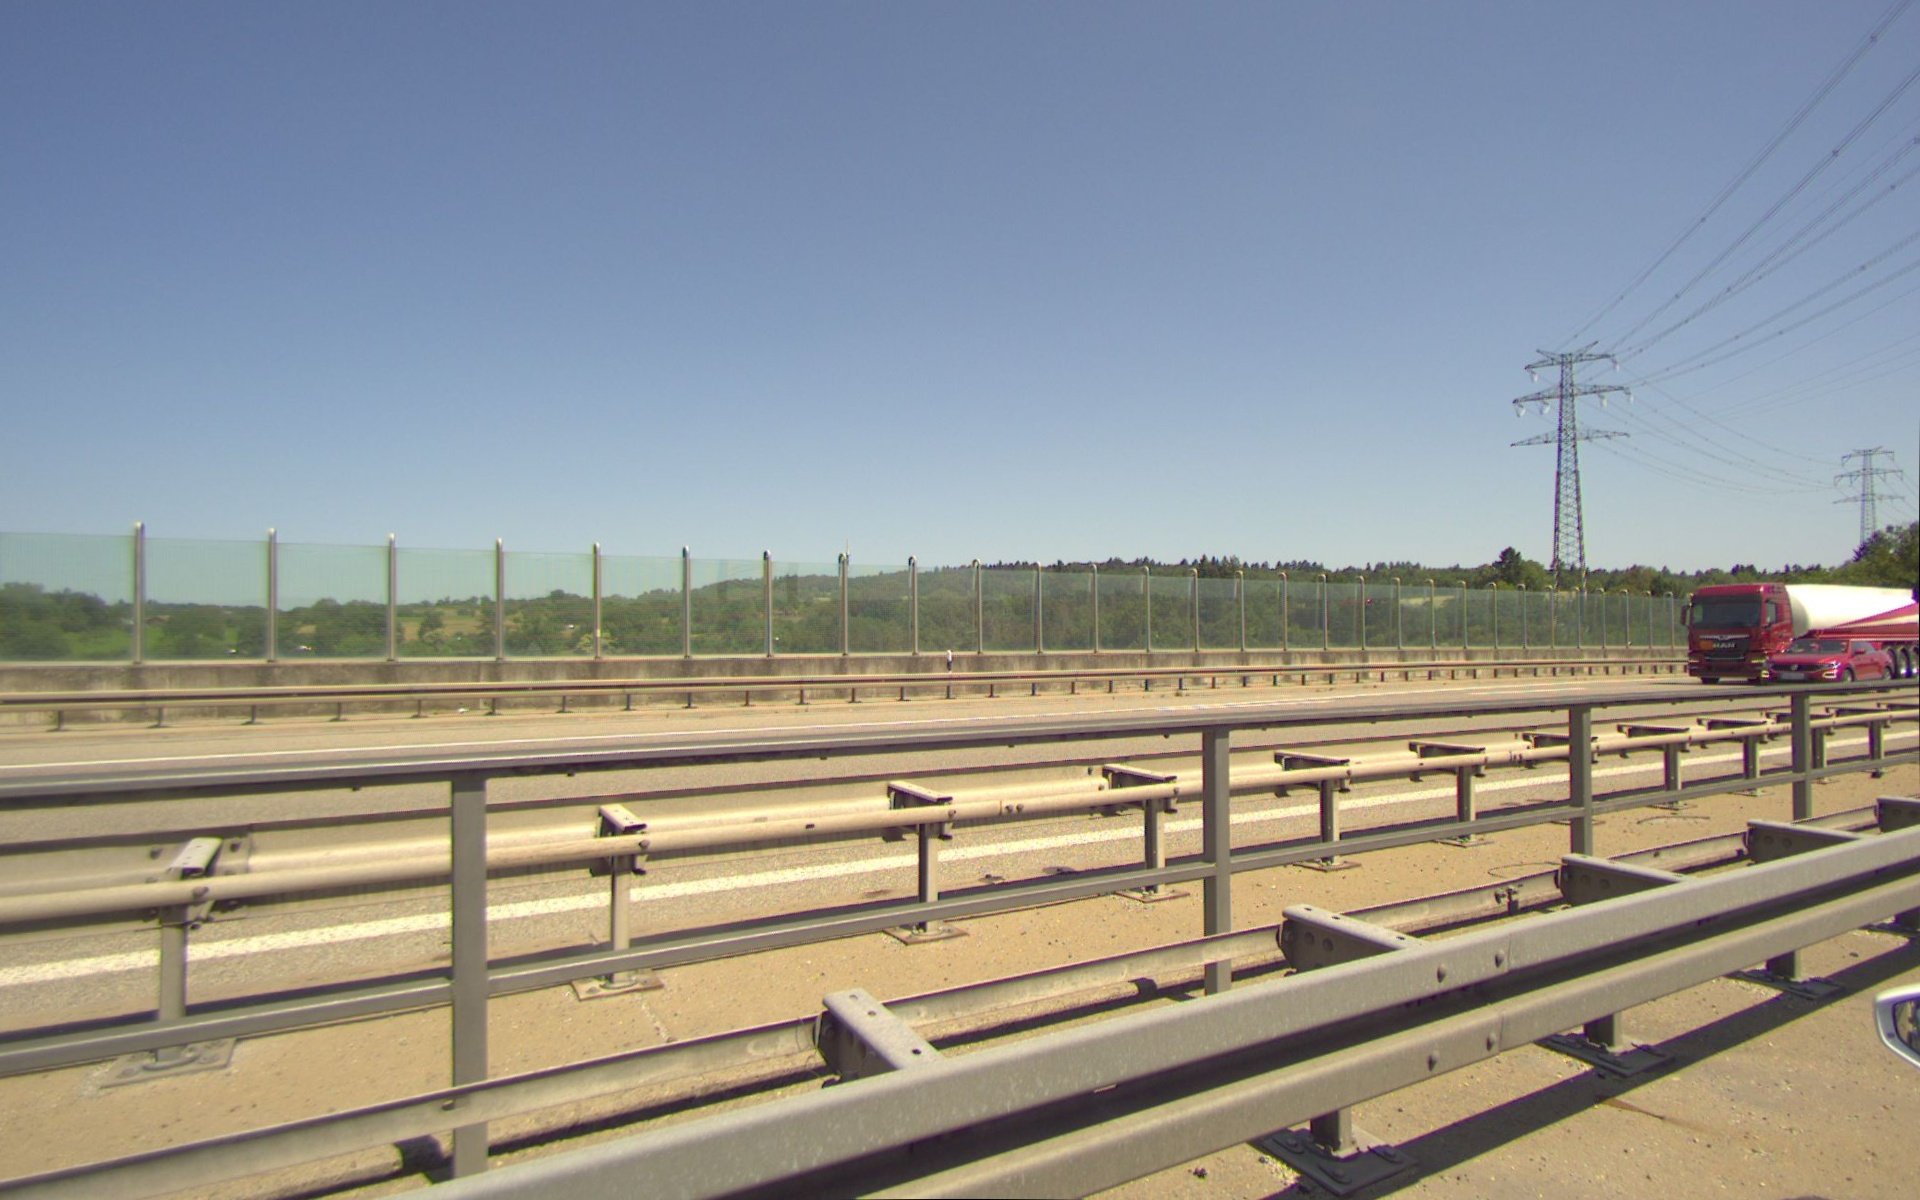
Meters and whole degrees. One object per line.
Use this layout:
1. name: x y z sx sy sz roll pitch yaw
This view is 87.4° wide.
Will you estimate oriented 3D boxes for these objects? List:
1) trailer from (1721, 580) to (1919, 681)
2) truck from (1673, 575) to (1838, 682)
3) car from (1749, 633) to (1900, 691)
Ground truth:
1. trailer: 33.028 1.189 37.922 11.932 3.387 2.469 1 -3 -31
2. truck: 27.405 1.033 34.571 5.766 3.409 2.486 1 -3 -31
3. car: 23.511 1.674 27.296 4.082 1.463 1.855 2 -4 -30
